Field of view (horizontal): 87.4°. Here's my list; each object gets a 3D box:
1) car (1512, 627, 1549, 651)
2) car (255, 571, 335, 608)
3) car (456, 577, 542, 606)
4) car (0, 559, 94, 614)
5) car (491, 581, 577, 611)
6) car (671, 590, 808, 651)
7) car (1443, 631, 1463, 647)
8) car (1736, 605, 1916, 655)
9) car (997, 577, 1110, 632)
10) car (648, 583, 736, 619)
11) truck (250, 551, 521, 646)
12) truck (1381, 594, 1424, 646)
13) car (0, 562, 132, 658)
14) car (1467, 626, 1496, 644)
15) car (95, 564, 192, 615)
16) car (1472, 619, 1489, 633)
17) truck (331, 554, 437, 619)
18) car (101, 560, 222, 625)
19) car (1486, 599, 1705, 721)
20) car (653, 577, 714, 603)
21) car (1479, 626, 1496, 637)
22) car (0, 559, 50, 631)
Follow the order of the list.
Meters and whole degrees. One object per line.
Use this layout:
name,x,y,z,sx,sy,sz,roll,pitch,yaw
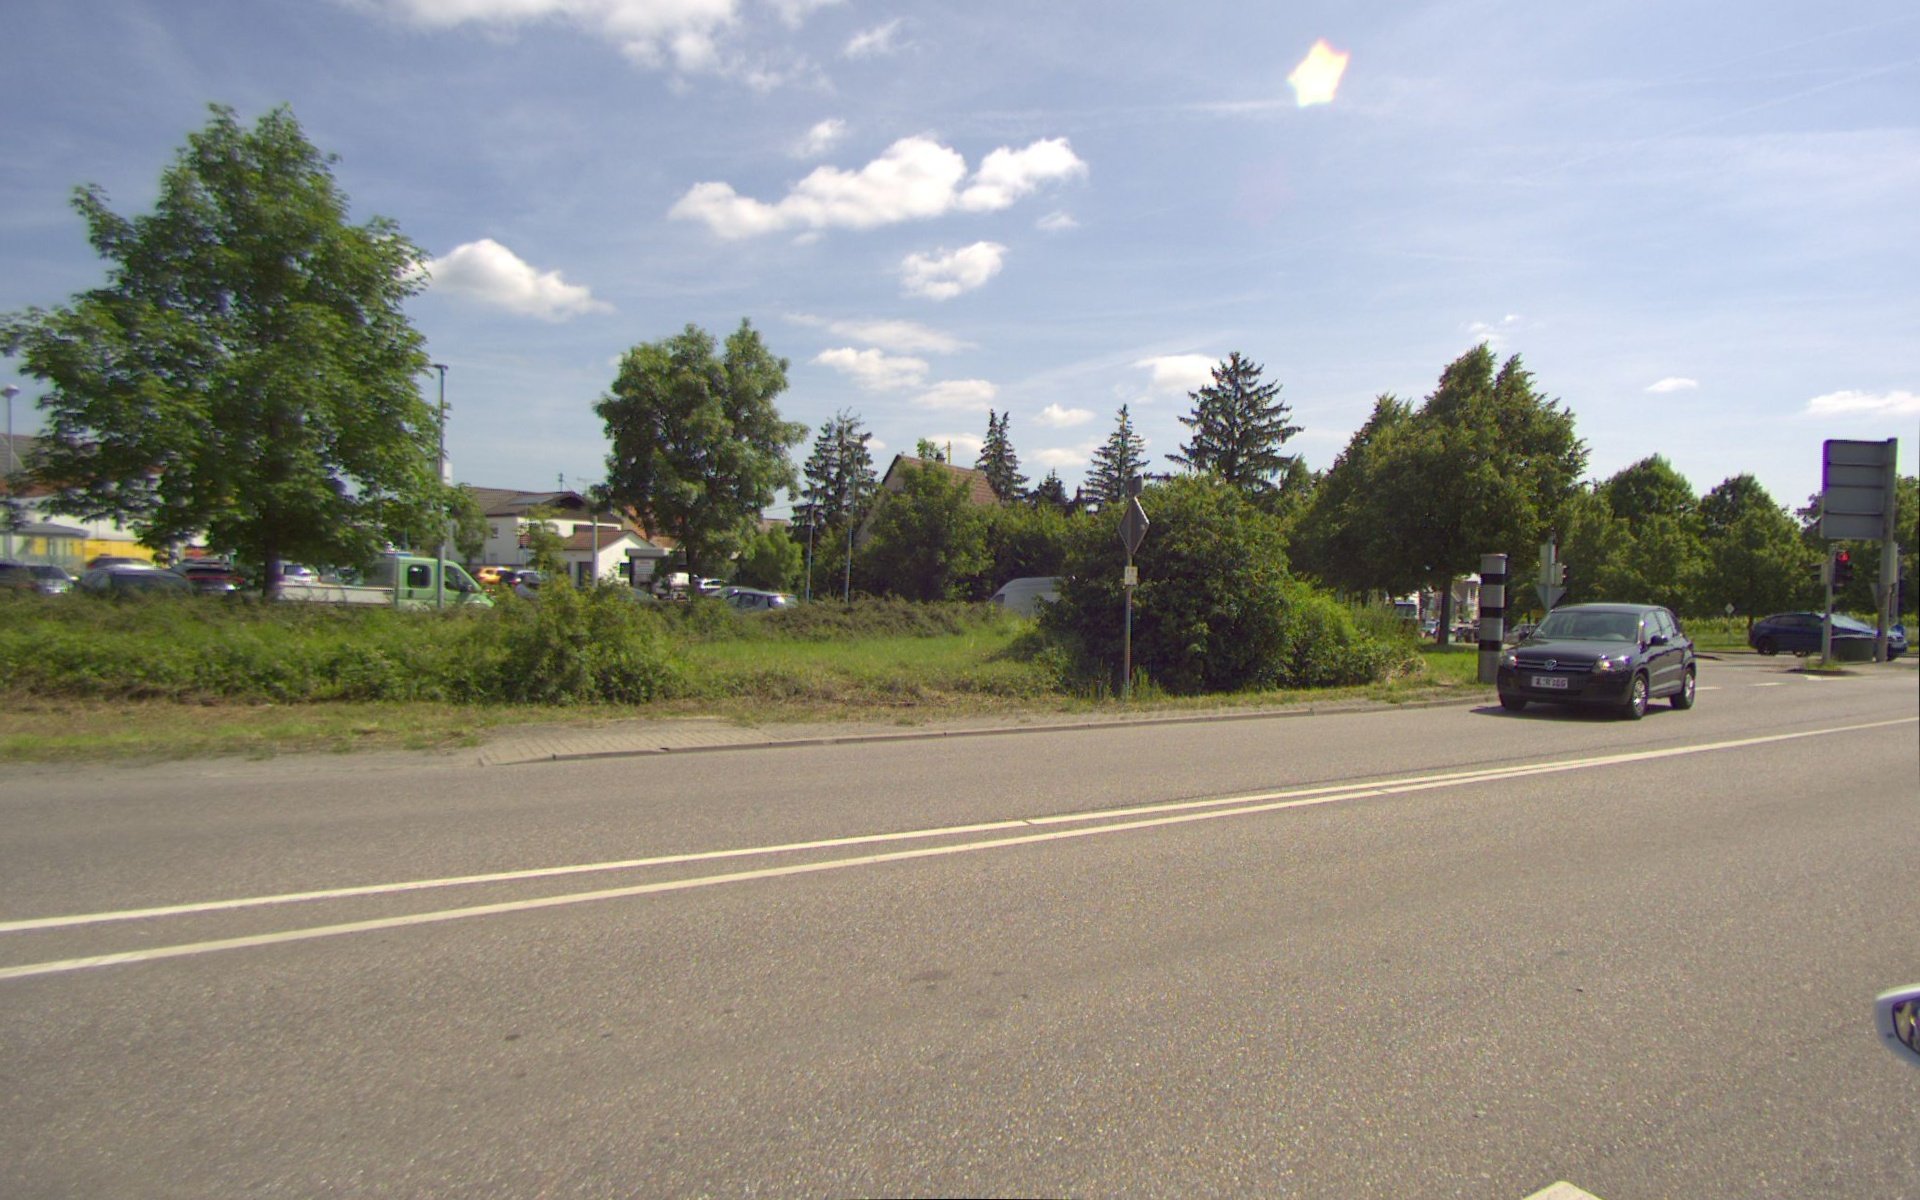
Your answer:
car,38.277,2.581,67.477,1.507,1.511,4.008,2,0,20
car,-30.273,-0.505,45.677,4.193,1.562,1.871,2,0,40
car,-27.115,-0.483,59.227,1.849,1.562,4.243,2,0,37
car,-28.210,-0.423,30.742,3.936,1.549,1.772,2,0,37
car,-24.537,-0.195,57.972,1.849,1.562,4.243,2,0,37
car,-7.064,0.638,32.198,3.928,1.751,1.997,2,0,29
car,47.820,3.781,97.467,1.645,1.375,3.857,2,-1,26
car,28.204,0.949,32.911,1.712,1.448,4.269,2,0,-14
car,4.031,0.152,43.698,4.524,2.209,1.992,2,1,37
car,-13.570,0.064,51.021,1.883,1.662,3.984,2,0,38
truck,-16.091,-0.010,28.558,2.214,2.407,6.323,1,0,38
truck,35.566,1.621,80.574,2.891,3.848,7.921,2,0,25
car,-17.540,0.161,19.459,3.941,1.679,1.686,2,0,42
car,43.246,2.861,83.328,1.708,1.322,4.280,1,0,22
car,-26.495,-0.350,32.556,3.941,1.549,1.770,2,0,41
car,66.826,3.352,128.896,1.728,1.773,3.993,2,0,29
truck,-22.325,-0.532,38.919,3.932,2.397,1.994,2,0,34
car,-22.831,-0.209,28.680,3.939,1.711,1.918,2,0,40
car,9.872,0.828,15.479,4.237,1.619,1.787,1,0,-42
car,-20.164,-0.720,73.414,1.866,1.782,3.988,2,0,35
car,79.197,4.746,150.876,1.965,1.448,3.991,2,0,31
car,-24.787,-0.176,25.560,3.939,1.697,1.903,3,1,40
